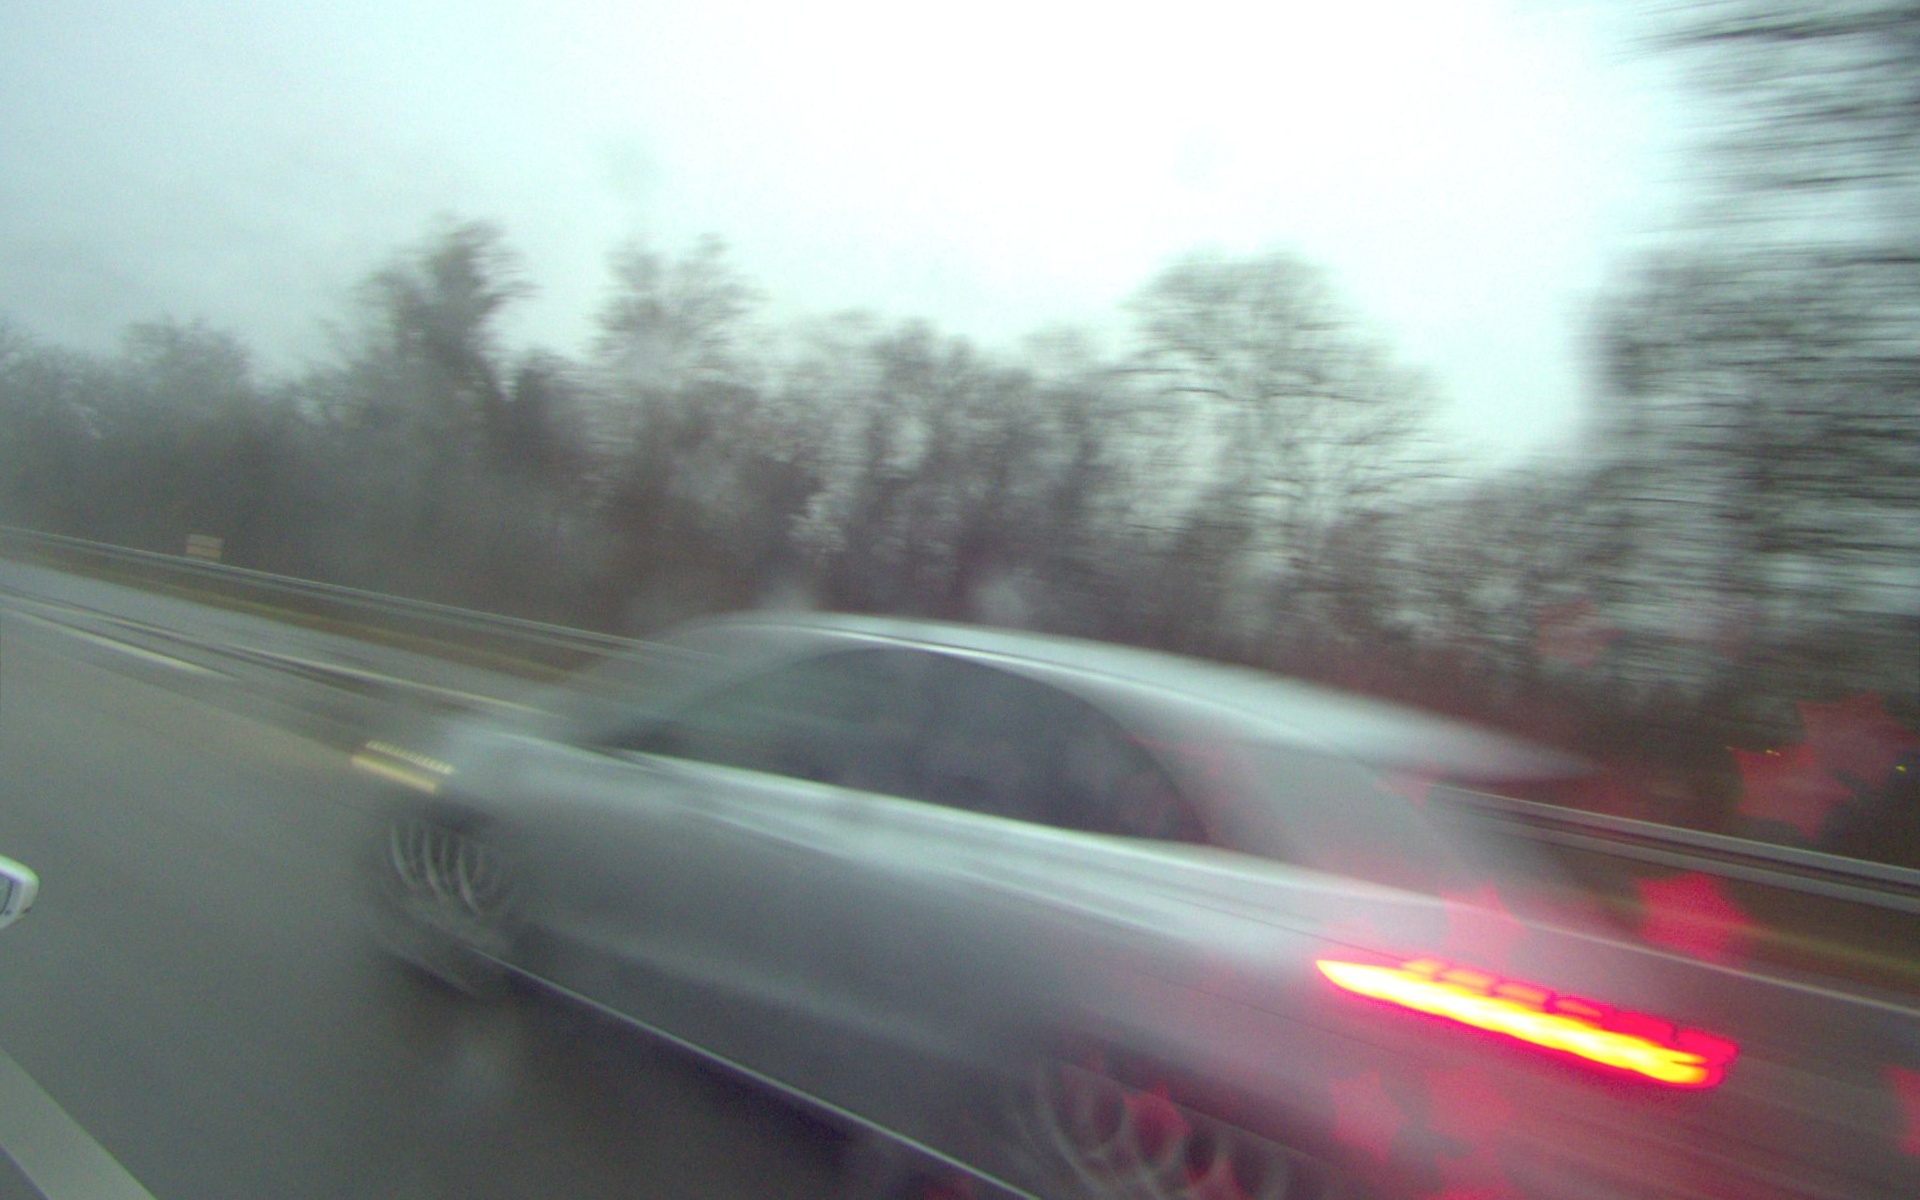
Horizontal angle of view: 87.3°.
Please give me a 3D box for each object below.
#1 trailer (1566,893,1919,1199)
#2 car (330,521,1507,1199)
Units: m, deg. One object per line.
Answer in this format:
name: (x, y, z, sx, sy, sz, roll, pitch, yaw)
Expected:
trailer: (2.783, 1.464, 1.708, 2.902, 0.936, 1.751, 7, -2, 31)
car: (-0.273, 0.730, 3.631, 3.748, 1.534, 1.790, 7, -1, 31)
